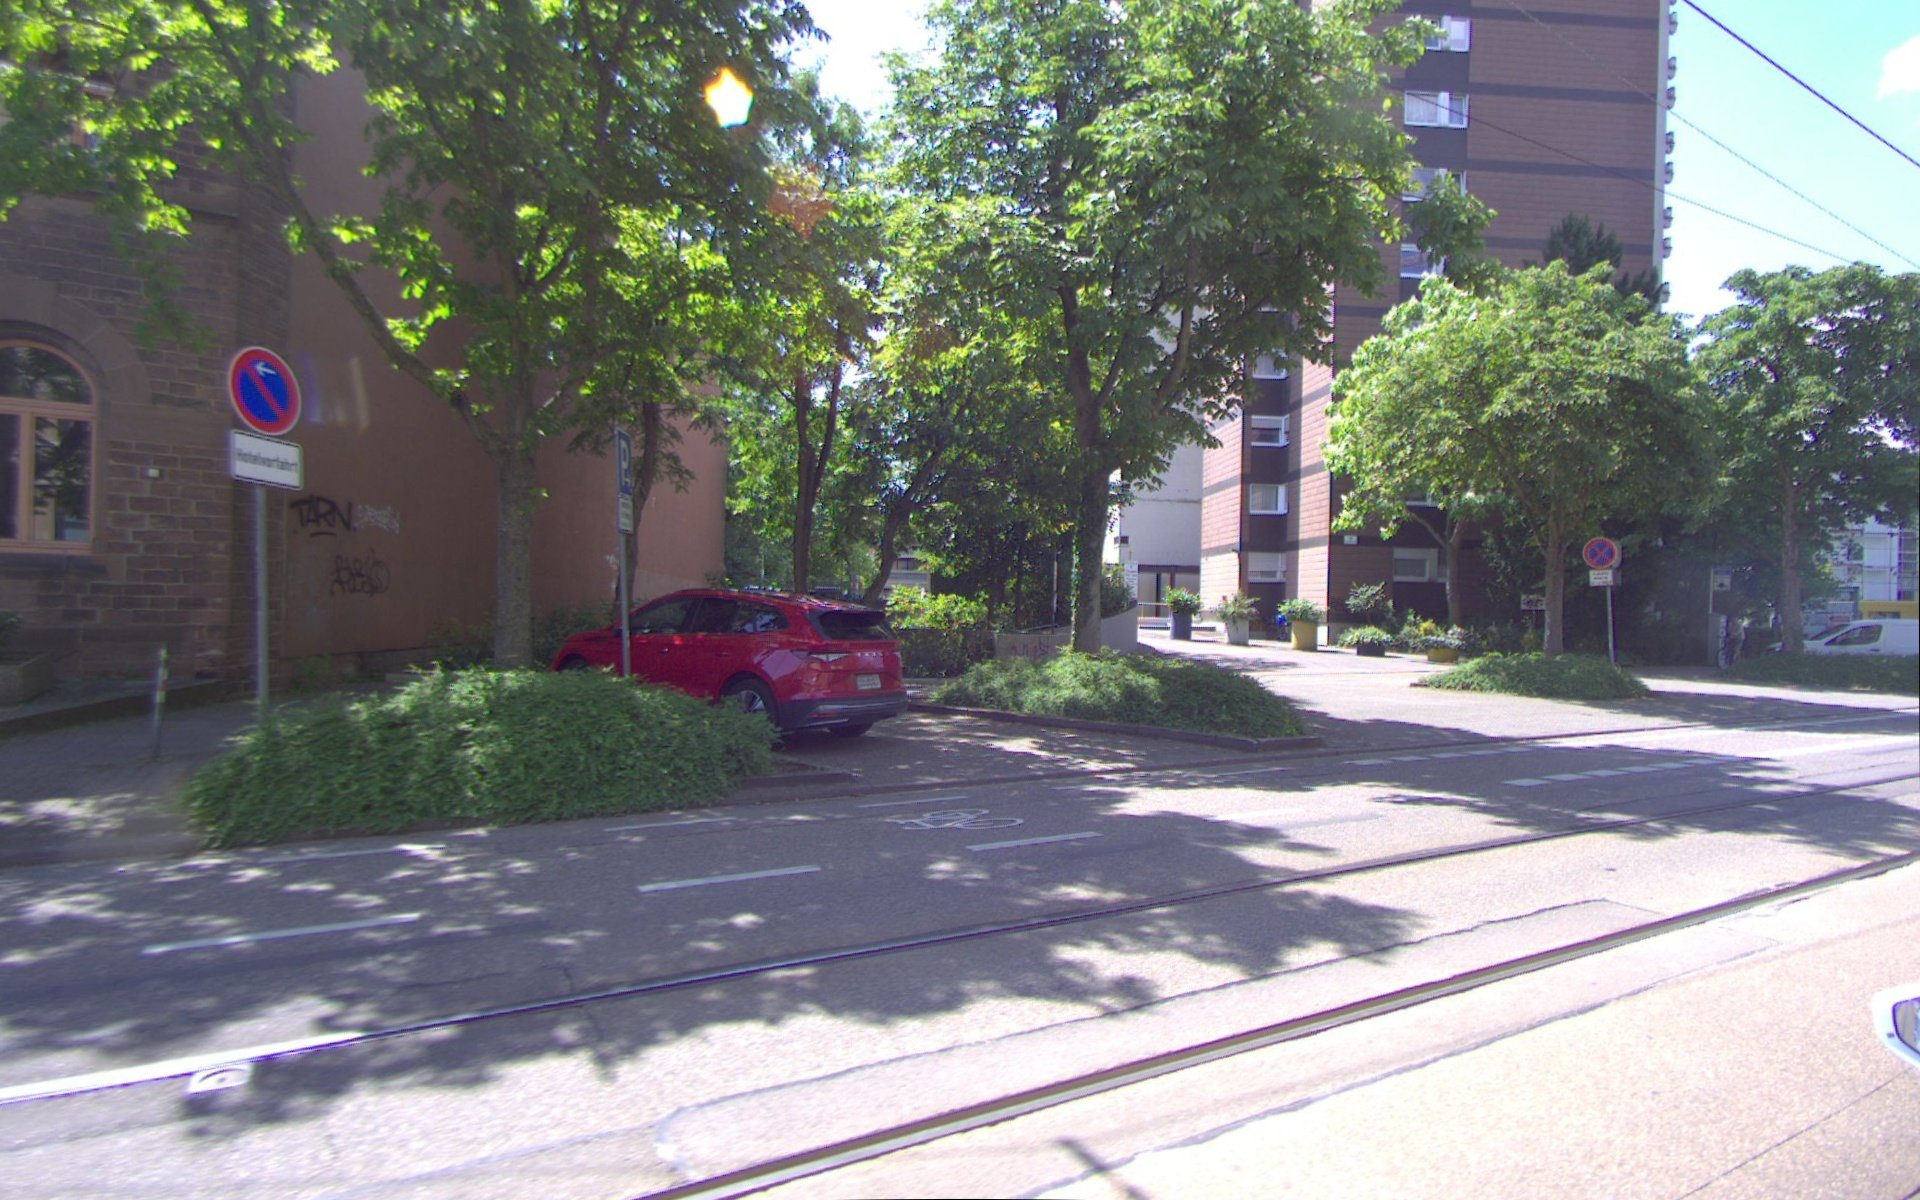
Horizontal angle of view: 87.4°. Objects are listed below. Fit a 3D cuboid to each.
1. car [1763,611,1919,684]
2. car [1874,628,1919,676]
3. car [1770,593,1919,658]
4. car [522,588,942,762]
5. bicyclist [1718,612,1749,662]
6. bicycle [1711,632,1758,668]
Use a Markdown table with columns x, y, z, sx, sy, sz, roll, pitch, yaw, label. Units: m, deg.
| x | y | z | sx | sy | sz | roll | pitch | yaw | label |
| --- | --- | --- | --- | --- | --- | --- | --- | --- | --- |
| 25.247 | 1.306 | 27.707 | 4.465 | 1.815 | 1.898 | 2 | 1 | 28 | car |
| 31.245 | 1.674 | 30.784 | 4.361 | 1.413 | 1.772 | 2 | 1 | 22 | car |
| 40.017 | 1.158 | 44.368 | 6.592 | 2.599 | 2.185 | 3 | 0 | 0 | car |
| -2.729 | 0.711 | 11.640 | 4.697 | 1.587 | 1.997 | 1 | 0 | 32 | car |
| 23.471 | 1.123 | 30.478 | 0.772 | 1.501 | 0.478 | 1 | 1 | -32 | bicyclist |
| 23.554 | 1.513 | 30.548 | 1.856 | 1.061 | 0.515 | 1 | 1 | -33 | bicycle |
